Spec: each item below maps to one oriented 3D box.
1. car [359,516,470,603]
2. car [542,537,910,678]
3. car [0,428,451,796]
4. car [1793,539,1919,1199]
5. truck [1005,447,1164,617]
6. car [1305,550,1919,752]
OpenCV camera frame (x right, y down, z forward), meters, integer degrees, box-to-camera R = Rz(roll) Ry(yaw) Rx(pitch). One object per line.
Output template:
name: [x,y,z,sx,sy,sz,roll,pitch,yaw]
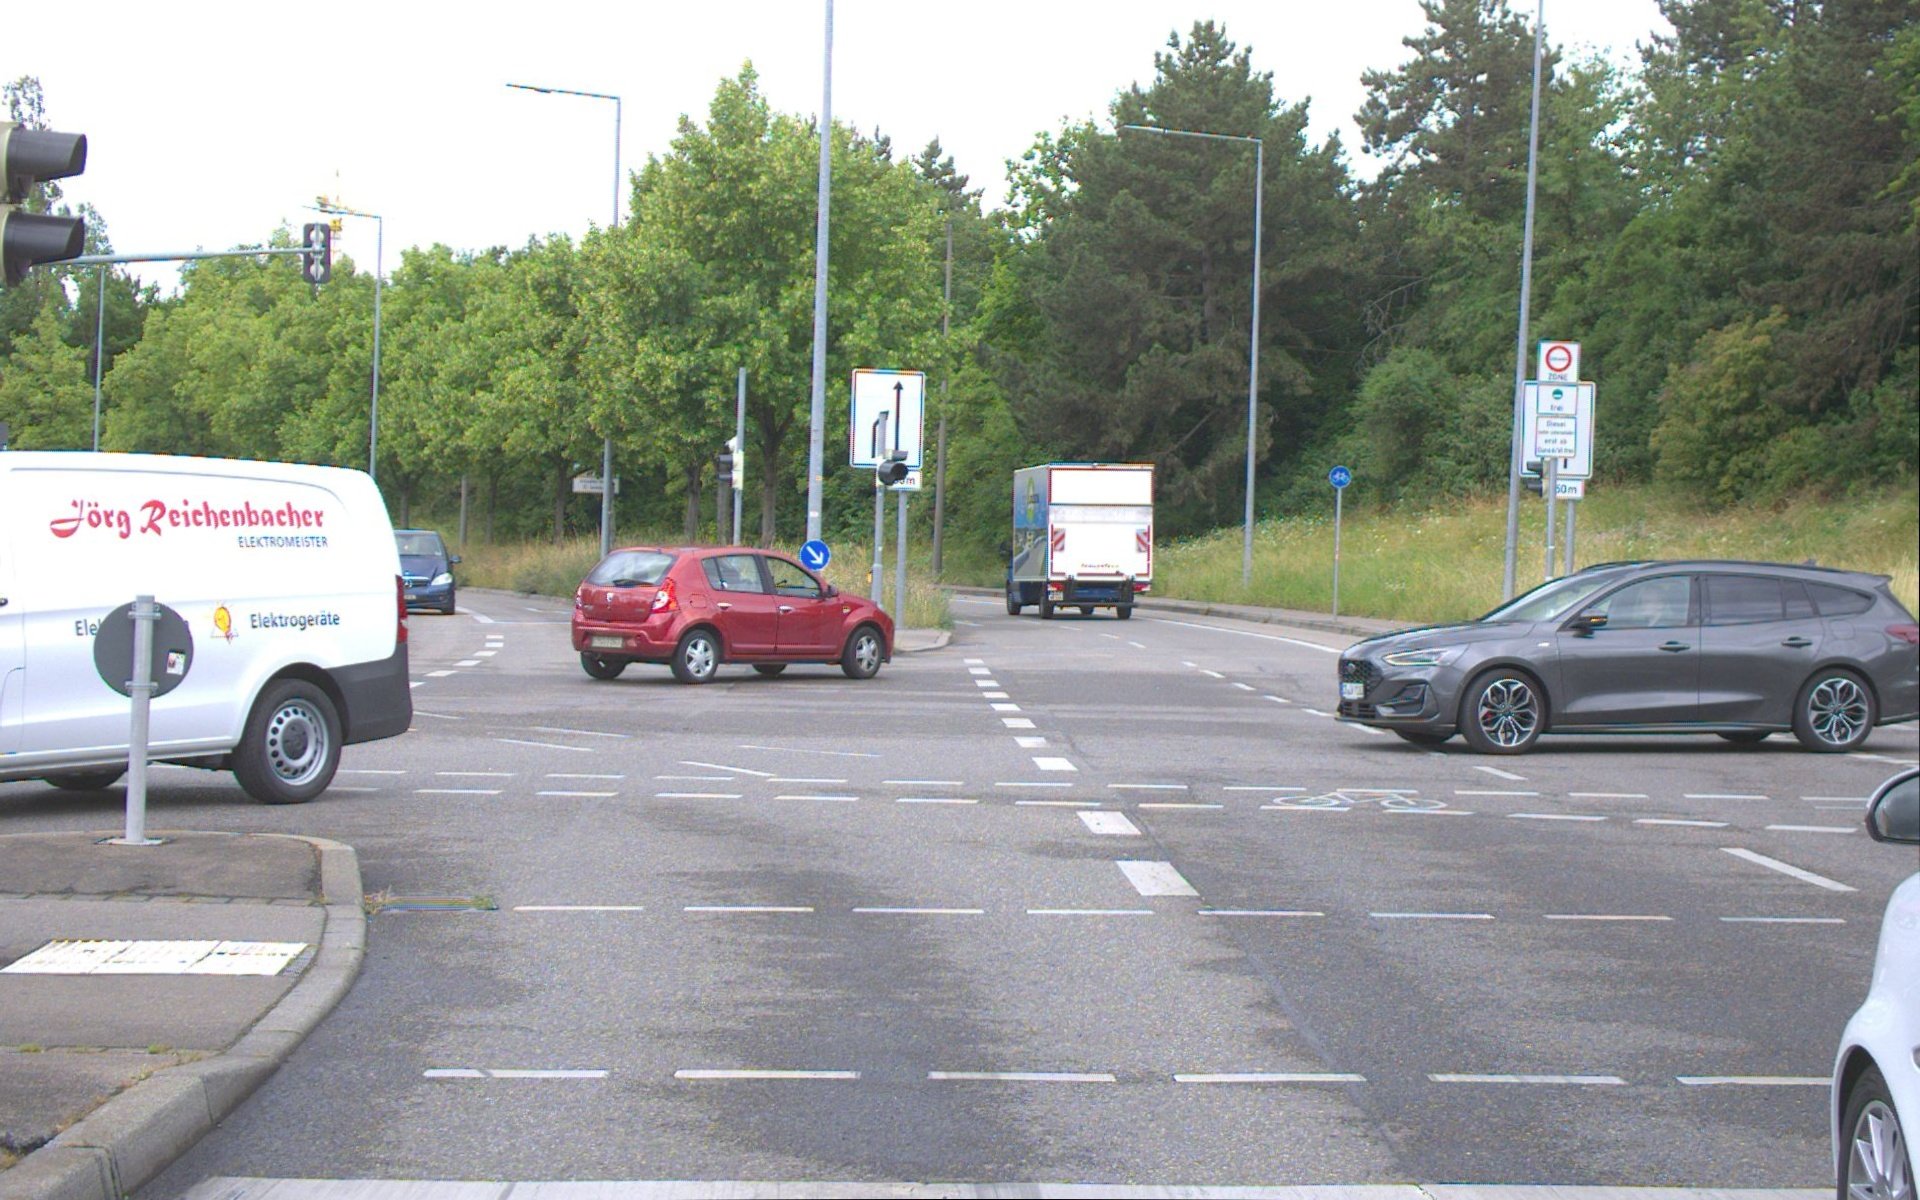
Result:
car: [-10.287,-0.784,64.679,1.915,1.571,4.001,0,1,-11]
car: [-2.598,0.079,38.823,1.731,1.511,3.990,-1,0,44]
car: [-5.264,0.064,17.838,1.997,1.809,5.425,0,-1,35]
car: [2.376,0.664,5.253,1.535,1.499,2.670,0,1,0]
truck: [2.700,-1.531,76.641,2.682,3.586,7.265,0,1,-5]
car: [5.112,0.375,26.585,4.490,1.456,2.001,0,1,-8]
